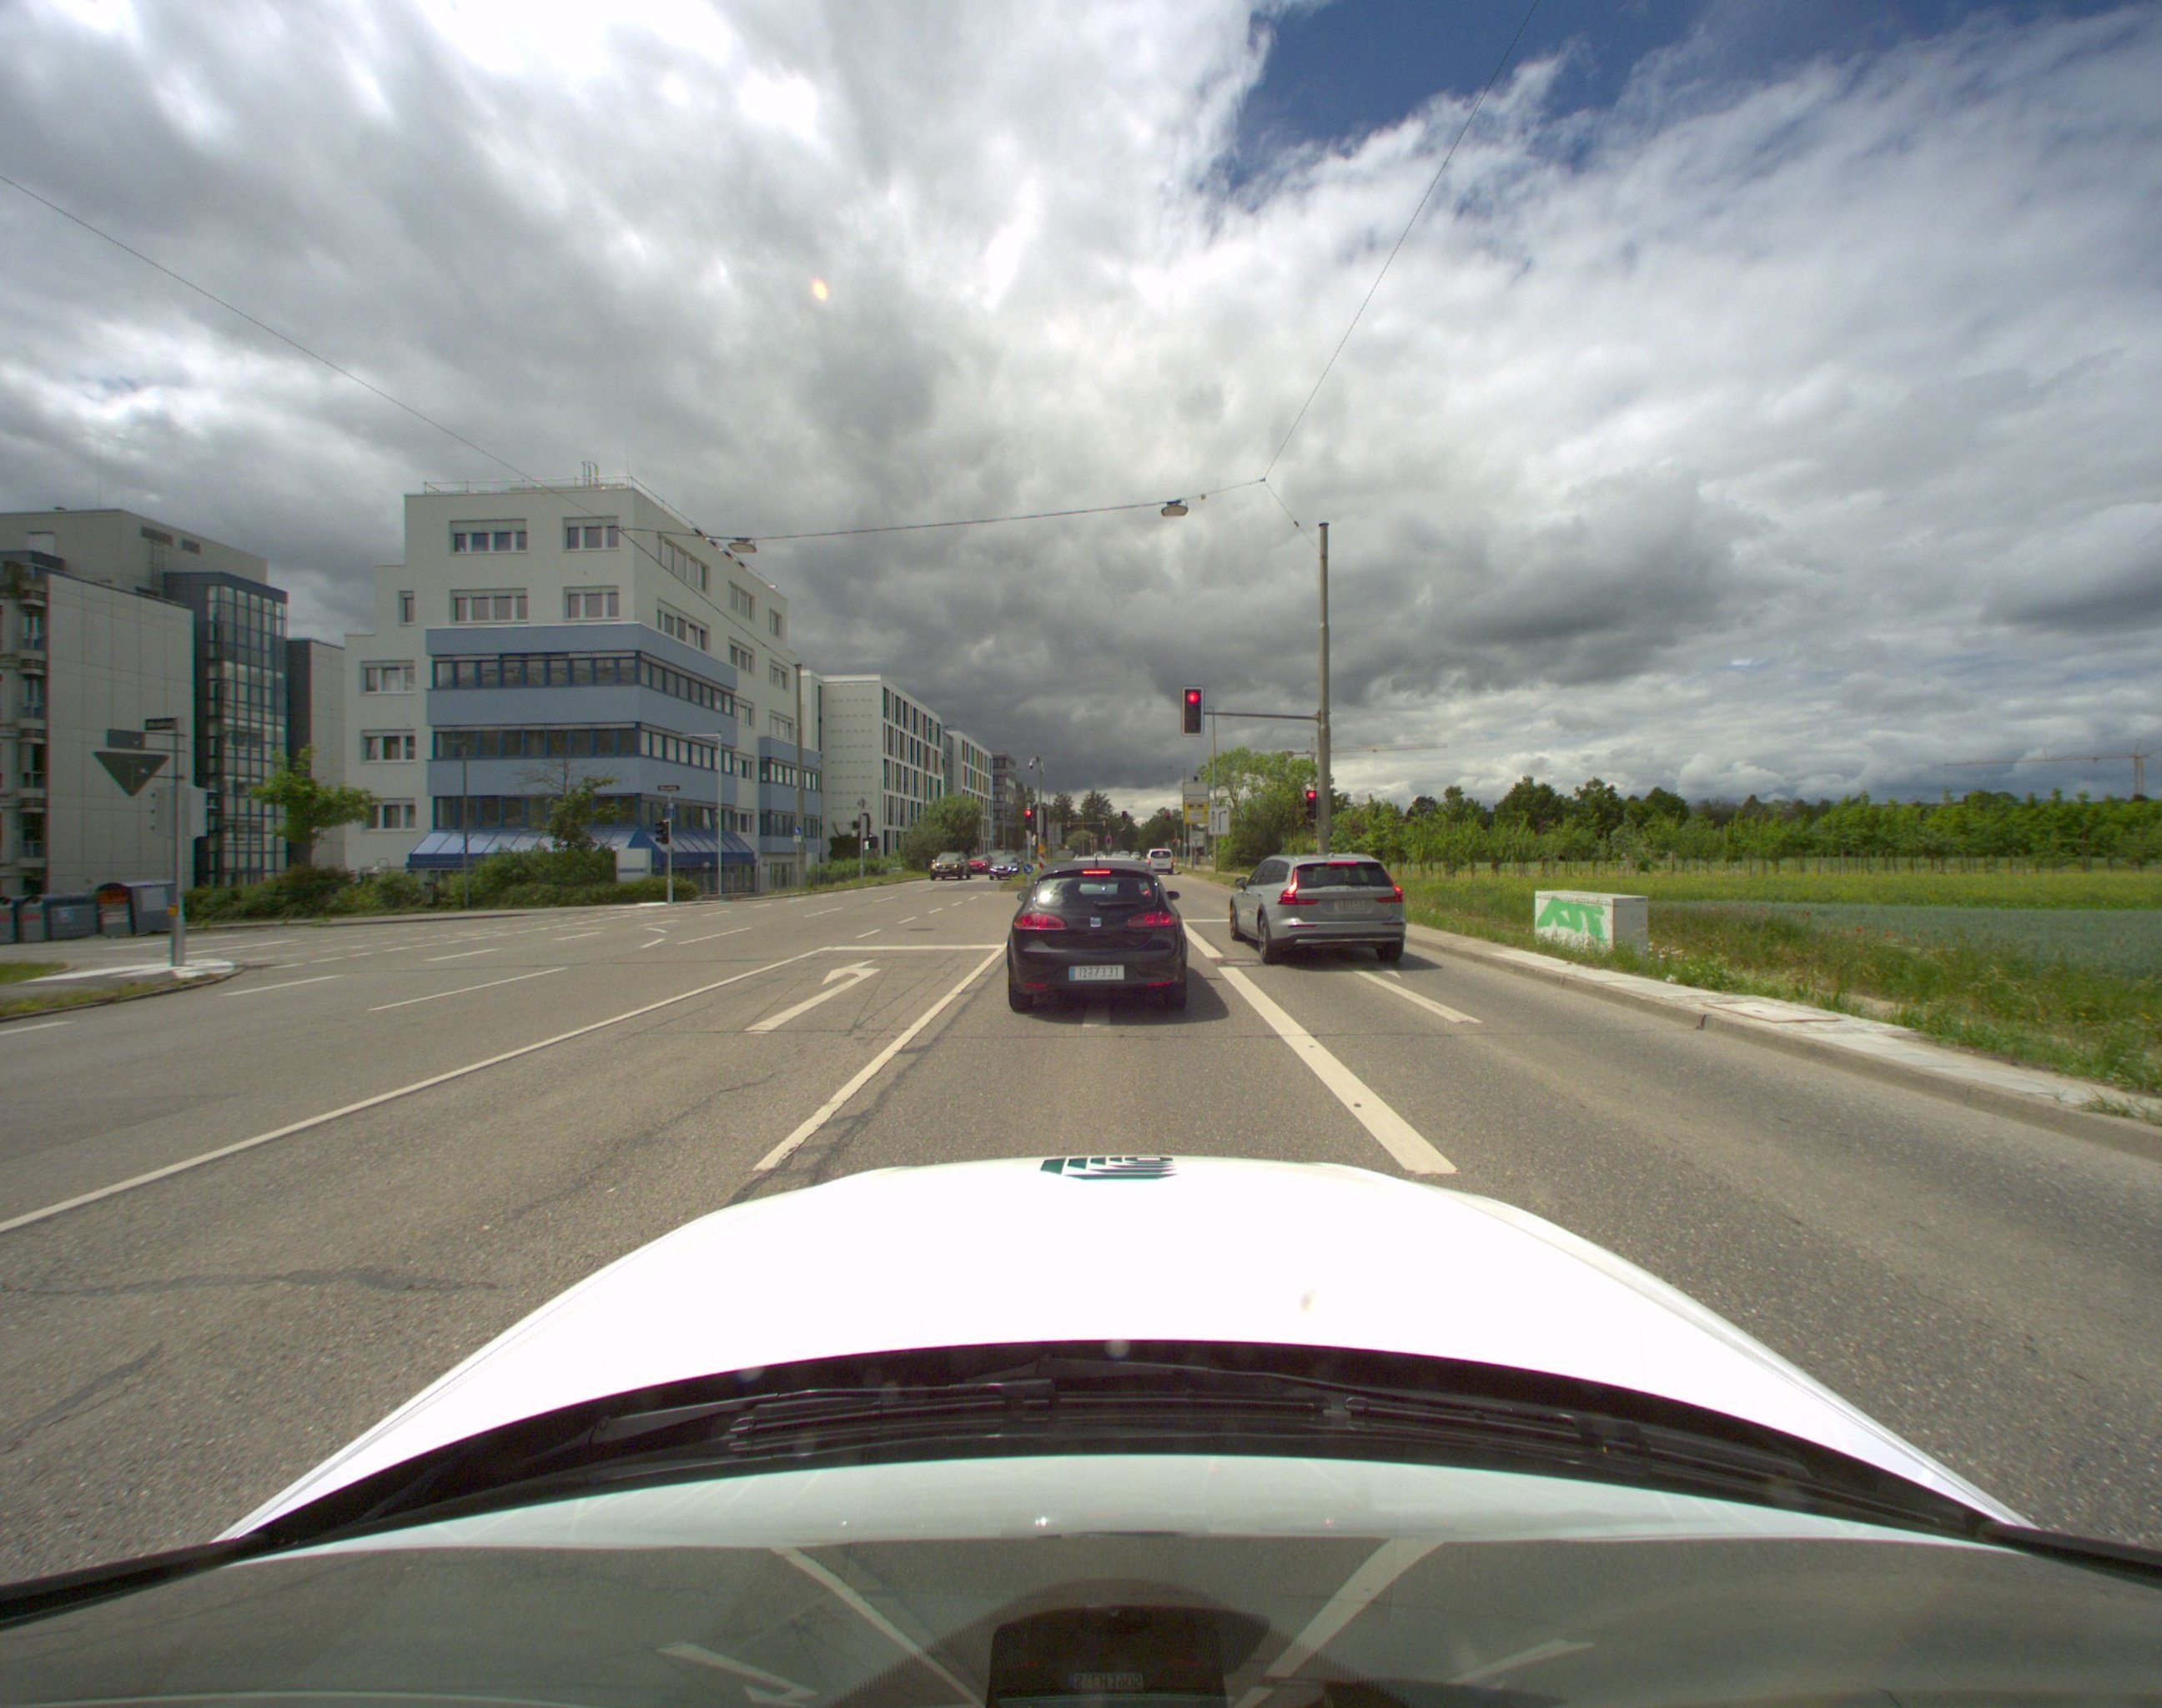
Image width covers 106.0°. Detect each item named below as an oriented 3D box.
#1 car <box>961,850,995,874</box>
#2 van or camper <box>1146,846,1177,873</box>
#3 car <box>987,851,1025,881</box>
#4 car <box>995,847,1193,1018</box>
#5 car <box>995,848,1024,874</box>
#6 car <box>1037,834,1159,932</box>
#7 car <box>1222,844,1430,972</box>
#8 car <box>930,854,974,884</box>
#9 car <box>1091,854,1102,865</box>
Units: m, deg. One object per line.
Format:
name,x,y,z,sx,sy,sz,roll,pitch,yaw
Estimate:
car,-7.390,0.554,58.663,1.769,1.612,4.001,-1,-1,2
van or camper,5.909,0.401,60.053,1.893,1.926,3.999,-1,-1,0
car,-4.286,0.669,47.045,1.662,1.524,4.010,-3,1,2
car,0.291,0.702,9.192,1.739,1.484,4.006,0,0,5
car,-5.873,0.548,66.950,1.987,2.014,4.479,-1,-1,-1
car,0.354,0.479,15.468,1.976,1.590,4.228,0,0,2
car,3.432,0.698,12.327,1.950,1.525,4.342,-2,-1,2
car,-7.552,0.836,47.924,1.744,1.631,4.002,-3,0,2
car,2.876,0.991,152.046,1.986,2.014,4.001,-1,-1,2
